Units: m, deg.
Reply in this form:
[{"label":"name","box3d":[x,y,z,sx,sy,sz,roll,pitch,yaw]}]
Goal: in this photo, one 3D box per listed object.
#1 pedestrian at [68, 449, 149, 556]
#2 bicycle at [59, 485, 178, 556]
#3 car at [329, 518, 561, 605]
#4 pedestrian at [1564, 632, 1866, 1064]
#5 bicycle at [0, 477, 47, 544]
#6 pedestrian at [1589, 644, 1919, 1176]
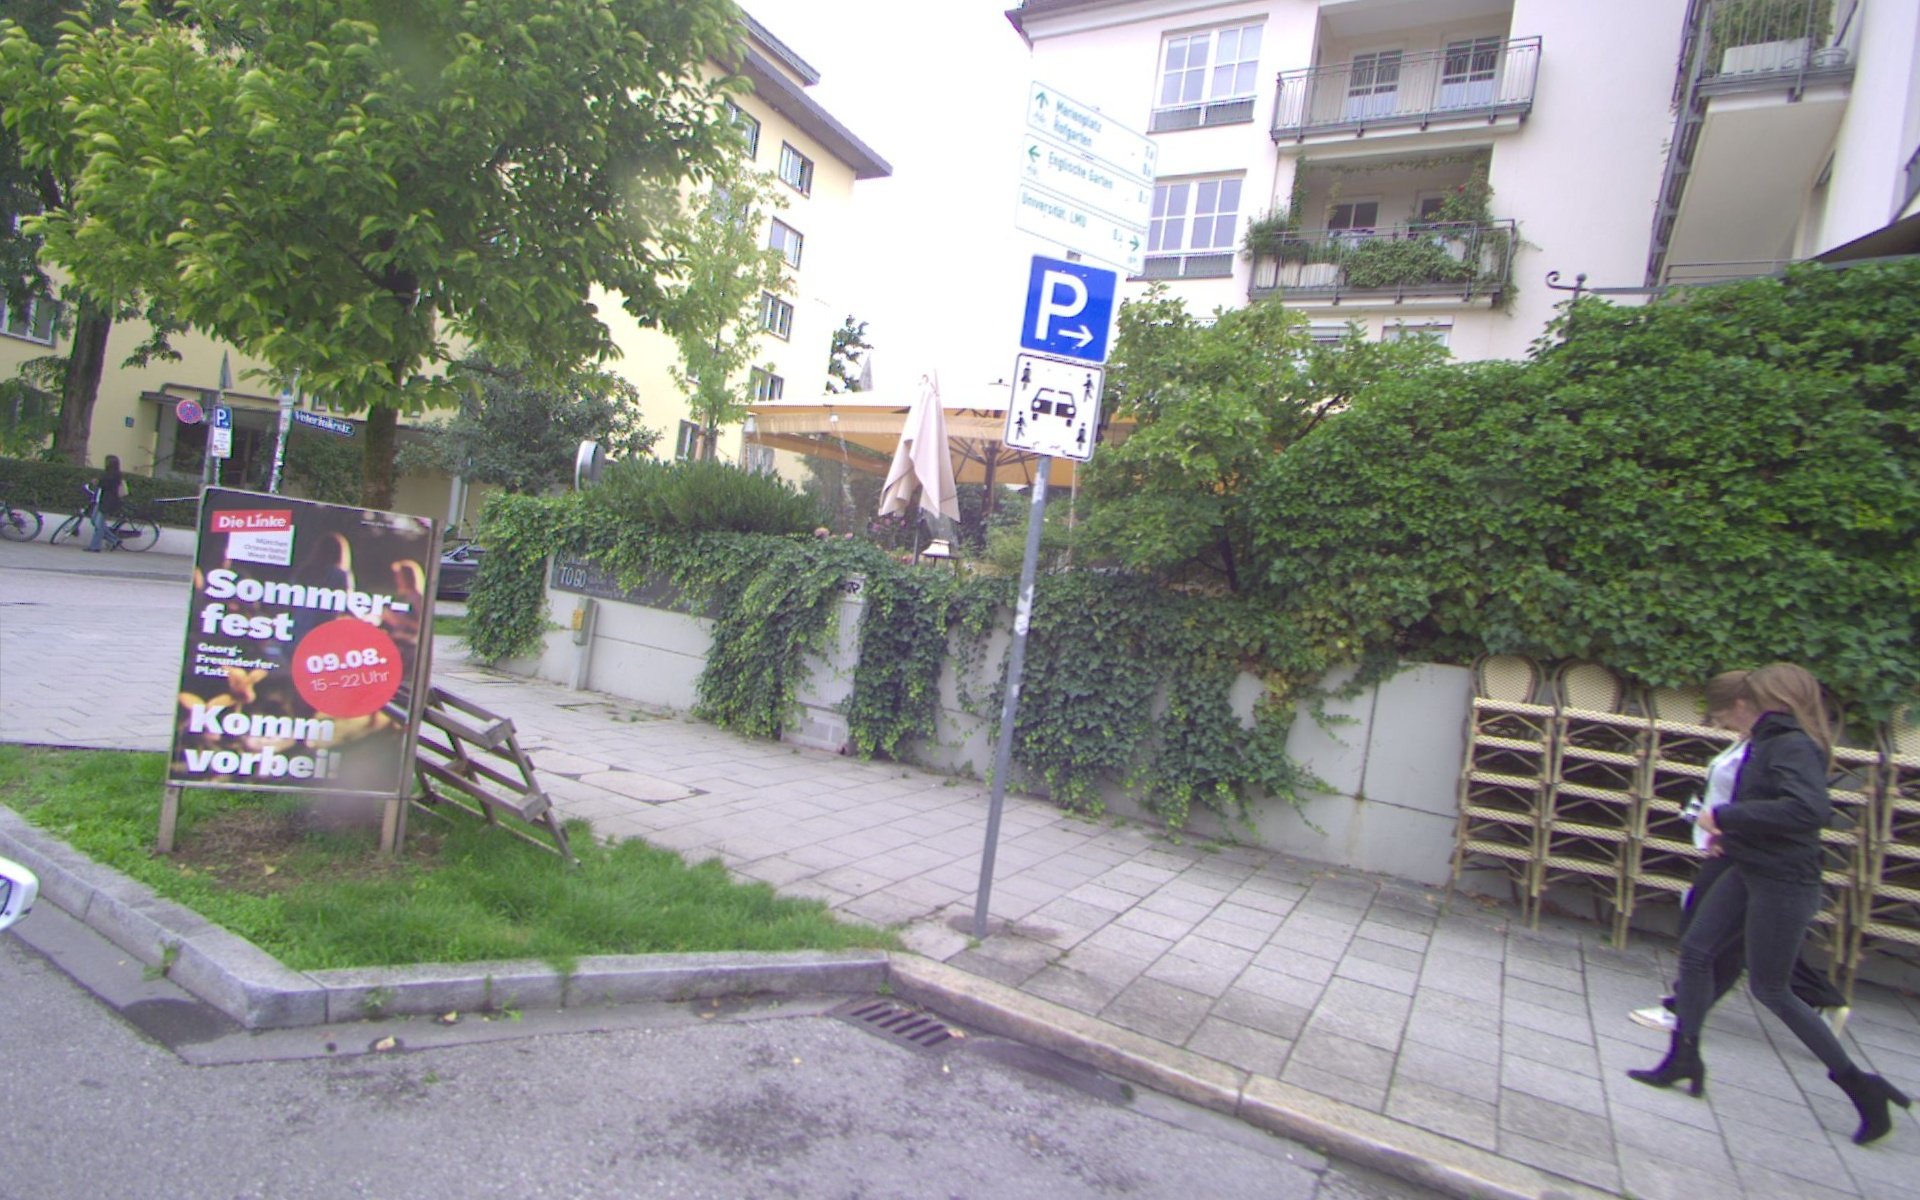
[{"label":"pedestrian","box3d":[-16.195,-1.838,19.149,0.753,1.881,0.851,8,2,29]},{"label":"bicycle","box3d":[-16.709,-1.555,20.014,0.452,1.144,1.685,9,1,29]},{"label":"car","box3d":[-11.362,-0.794,22.517,1.635,1.383,4.326,5,-1,31]},{"label":"pedestrian","box3d":[3.309,1.014,4.523,0.815,1.626,0.807,7,1,30]},{"label":"bicycle","box3d":[-18.195,-1.766,18.369,2.162,1.129,0.632,8,1,-44]},{"label":"pedestrian","box3d":[2.970,1.042,3.766,0.815,1.649,0.679,7,1,28]}]
